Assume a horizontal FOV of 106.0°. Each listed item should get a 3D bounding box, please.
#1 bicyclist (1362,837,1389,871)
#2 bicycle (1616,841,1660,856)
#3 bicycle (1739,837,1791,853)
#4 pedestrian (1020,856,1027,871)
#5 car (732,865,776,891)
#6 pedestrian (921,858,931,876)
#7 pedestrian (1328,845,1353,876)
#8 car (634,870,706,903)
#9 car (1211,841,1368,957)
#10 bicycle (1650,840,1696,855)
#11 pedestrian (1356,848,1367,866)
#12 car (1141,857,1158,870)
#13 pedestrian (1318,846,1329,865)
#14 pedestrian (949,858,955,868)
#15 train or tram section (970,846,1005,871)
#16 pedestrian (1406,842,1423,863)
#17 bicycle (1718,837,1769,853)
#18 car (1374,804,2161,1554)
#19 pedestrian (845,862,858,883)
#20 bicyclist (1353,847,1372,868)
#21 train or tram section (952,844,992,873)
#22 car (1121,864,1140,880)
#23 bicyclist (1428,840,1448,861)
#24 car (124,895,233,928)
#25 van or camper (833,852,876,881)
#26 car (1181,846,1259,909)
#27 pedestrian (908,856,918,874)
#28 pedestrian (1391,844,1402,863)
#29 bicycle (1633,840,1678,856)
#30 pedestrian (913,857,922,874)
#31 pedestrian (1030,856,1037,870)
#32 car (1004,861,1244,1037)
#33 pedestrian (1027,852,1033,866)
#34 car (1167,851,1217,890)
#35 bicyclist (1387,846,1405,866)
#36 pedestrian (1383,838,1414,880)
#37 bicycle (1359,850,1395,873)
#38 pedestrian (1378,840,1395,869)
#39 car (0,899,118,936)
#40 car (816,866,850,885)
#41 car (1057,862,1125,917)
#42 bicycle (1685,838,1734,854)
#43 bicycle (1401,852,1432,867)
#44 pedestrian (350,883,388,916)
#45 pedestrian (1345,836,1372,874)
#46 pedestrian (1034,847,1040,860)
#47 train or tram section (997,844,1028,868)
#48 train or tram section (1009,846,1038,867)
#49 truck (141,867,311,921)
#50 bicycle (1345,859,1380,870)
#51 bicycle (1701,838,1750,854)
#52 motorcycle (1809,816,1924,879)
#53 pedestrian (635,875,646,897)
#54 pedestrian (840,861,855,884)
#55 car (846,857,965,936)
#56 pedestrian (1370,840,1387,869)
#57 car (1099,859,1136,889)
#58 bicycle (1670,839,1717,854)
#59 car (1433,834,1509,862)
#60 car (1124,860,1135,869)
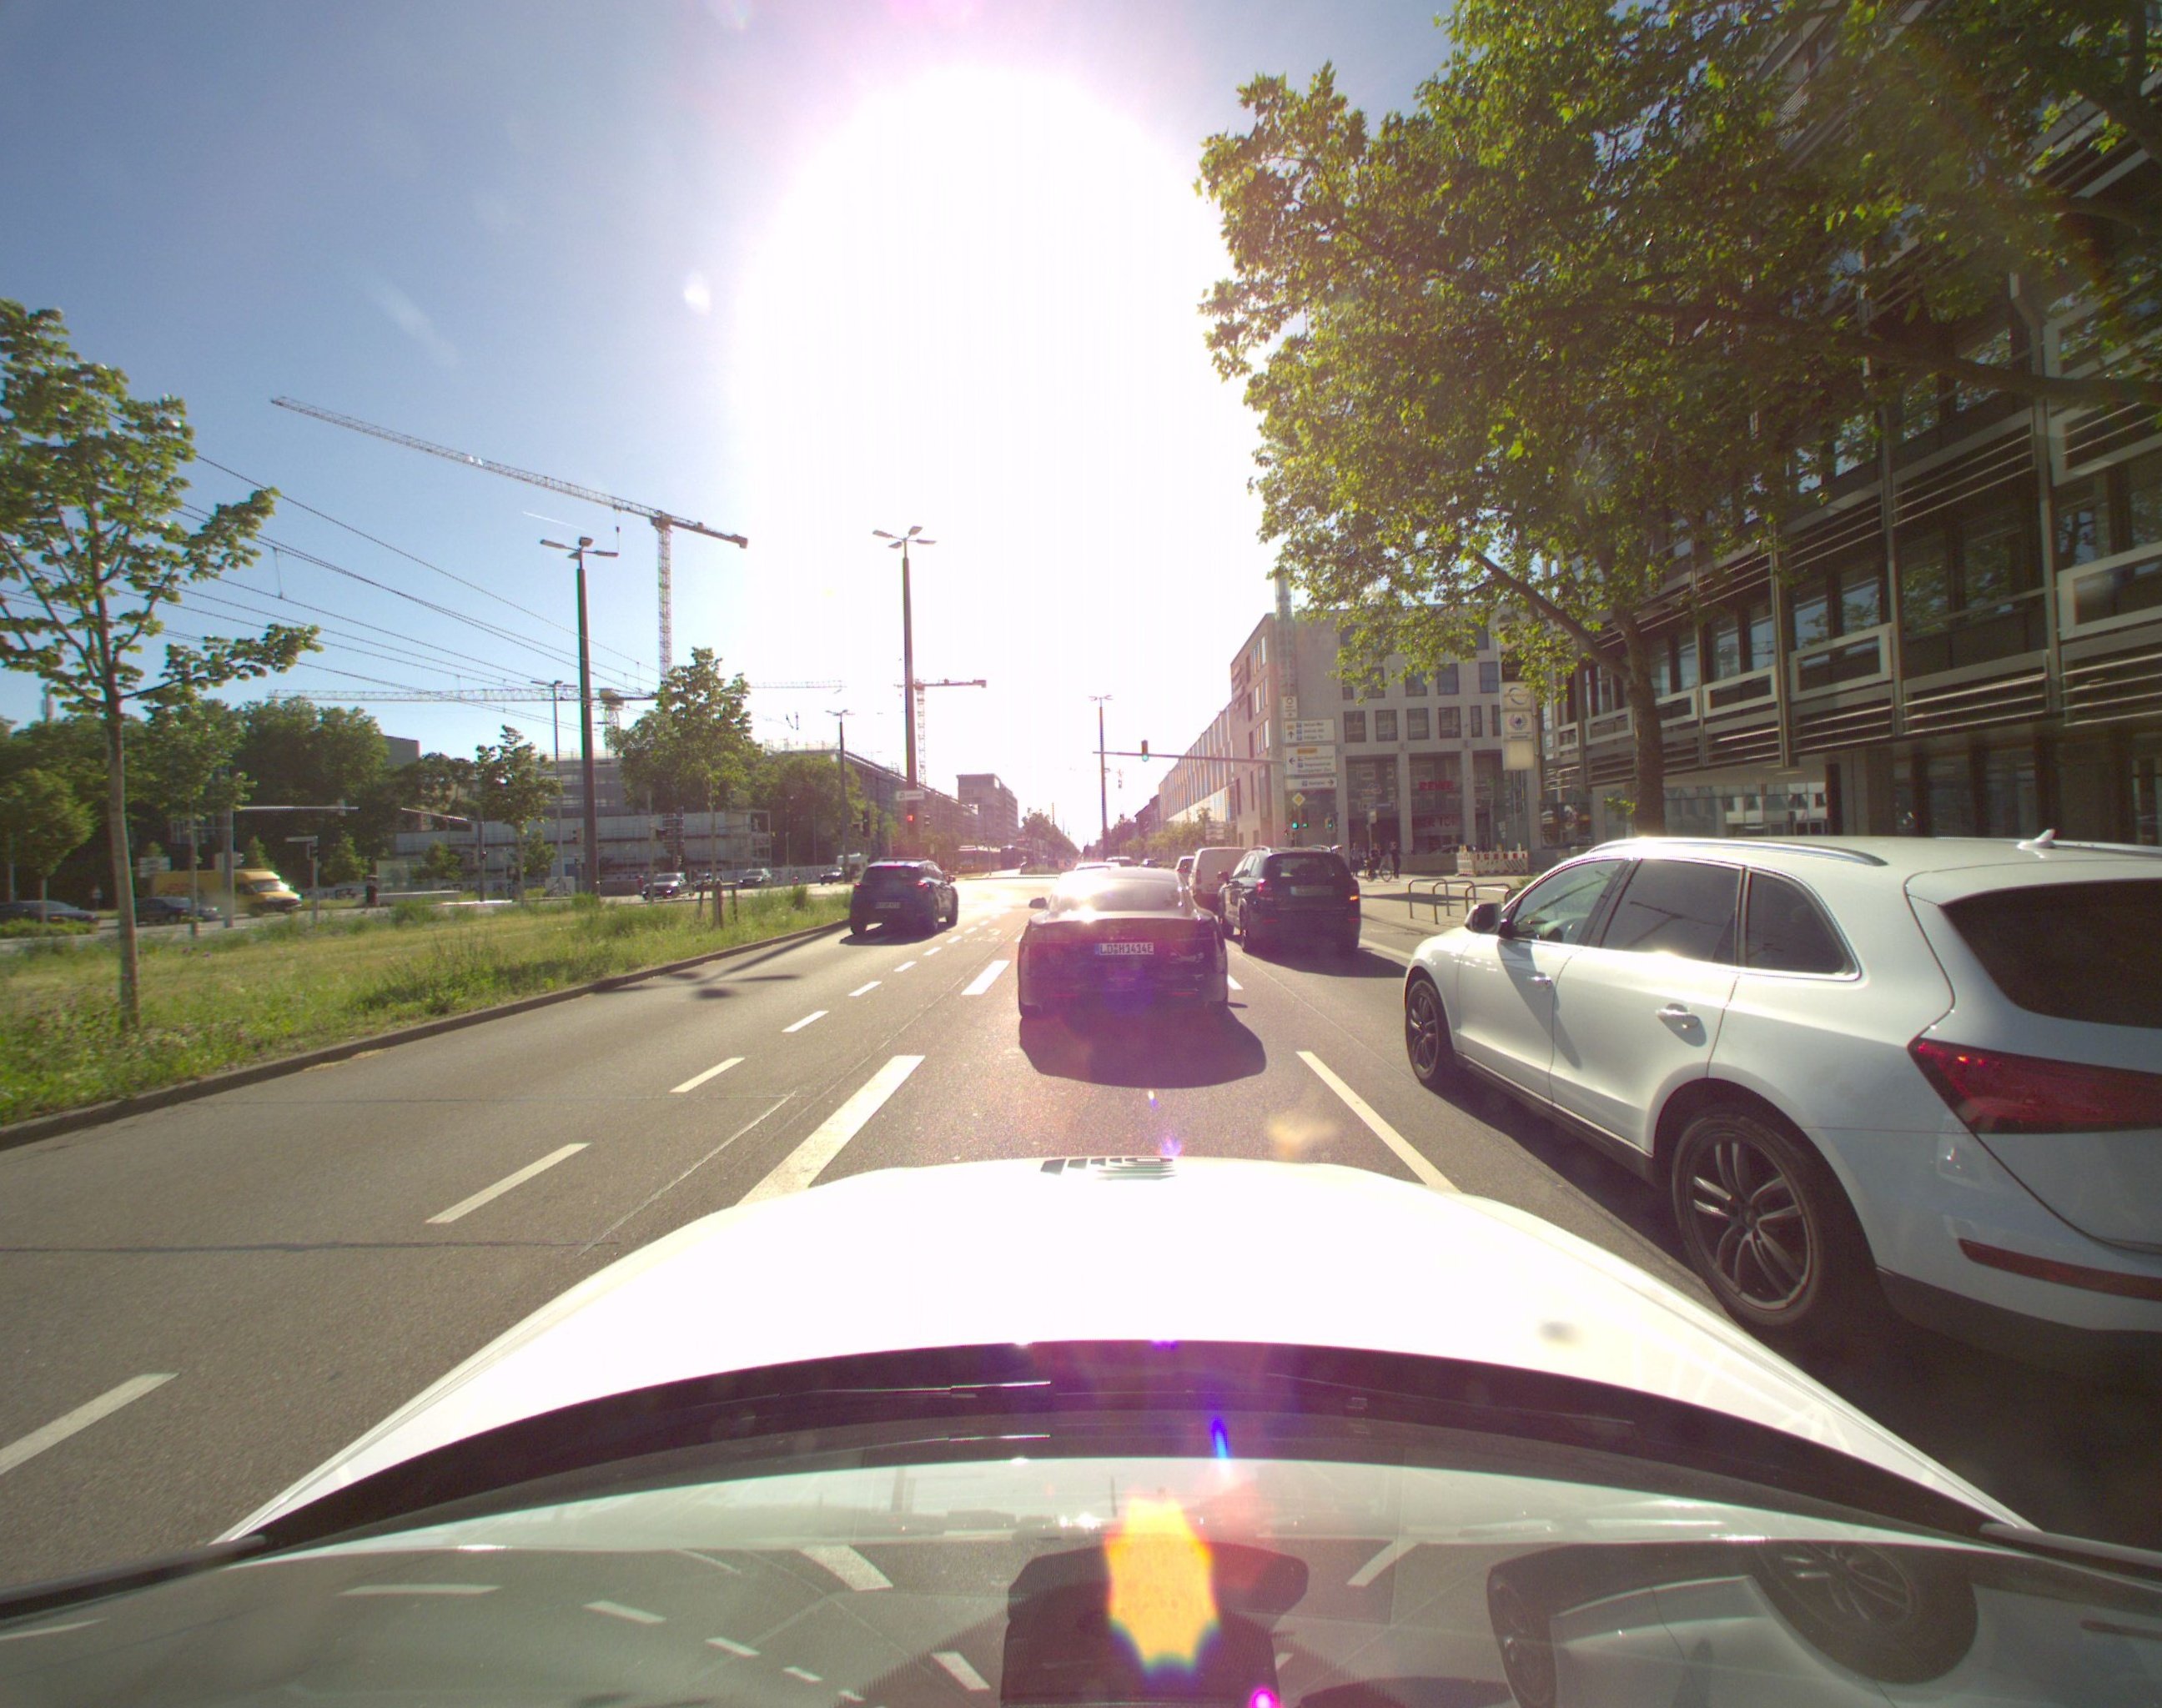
[{"bbox_3d":[13.175,0.011,36.468,0.878,1.477,0.884,-2,0,1],"label":"bicyclist"},{"bbox_3d":[41.674,-0.392,61.042,1.061,1.094,3.501,-2,0,4],"label":"bicycle"},{"bbox_3d":[50.760,-0.656,60.485,1.061,1.094,3.501,-2,0,4],"label":"bicycle"},{"bbox_3d":[-7.208,1.186,102.552,0.872,1.775,1.188,0,0,-2],"label":"pedestrian"},{"bbox_3d":[-26.775,1.963,66.866,1.863,1.955,4.001,-2,0,1],"label":"car"},{"bbox_3d":[-15.630,1.294,82.334,0.797,1.823,0.976,-2,0,-2],"label":"pedestrian"},{"bbox_3d":[16.066,0.409,50.502,0.963,1.801,1.523,-4,-1,1],"label":"pedestrian"},{"bbox_3d":[-23.878,1.873,47.494,1.818,1.689,4.096,-2,0,4],"label":"car"},{"bbox_3d":[3.491,0.672,14.463,1.777,1.699,4.415,-2,0,2],"label":"car"},{"bbox_3d":[44.259,-0.465,60.933,1.061,1.094,3.501,-2,0,4],"label":"bicycle"},{"bbox_3d":[25.606,0.264,74.315,0.559,1.608,0.742,-3,0,-35],"label":"pedestrian"},{"bbox_3d":[8.810,1.179,105.019,1.927,1.542,4.002,-2,0,2],"label":"car"},{"bbox_3d":[21.422,0.151,71.916,0.745,1.608,0.556,-2,0,0],"label":"pedestrian"},{"bbox_3d":[-16.166,1.082,101.792,0.669,1.226,0.506,0,-1,-2],"label":"pedestrian"},{"bbox_3d":[-12.931,0.711,114.067,2.838,3.321,15.967,0,-1,1],"label":"train or tram section"},{"bbox_3d":[27.313,-0.089,66.729,0.974,1.684,0.860,-2,0,-1],"label":"pedestrian"},{"bbox_3d":[49.148,-0.667,60.464,1.061,1.094,3.501,-2,0,4],"label":"bicycle"},{"bbox_3d":[3.066,0.679,3.951,1.812,1.613,4.415,-2,0,2],"label":"car"},{"bbox_3d":[-19.639,1.583,69.821,0.797,1.823,0.976,-2,0,-2],"label":"pedestrian"},{"bbox_3d":[20.414,0.273,58.982,1.017,1.476,1.073,-2,-1,5],"label":"bicyclist"},{"bbox_3d":[-13.161,0.538,99.552,2.860,3.310,13.074,0,0,1],"label":"train or tram section"},{"bbox_3d":[4.917,1.785,80.834,1.710,1.432,4.002,-2,0,2],"label":"car"},{"bbox_3d":[25.841,-0.243,58.956,0.928,1.433,1.042,-2,-1,4],"label":"bicyclist"},{"bbox_3d":[-48.463,3.094,43.779,3.966,1.539,1.907,-2,-1,6],"label":"car"},{"bbox_3d":[-24.451,1.307,88.277,2.597,2.937,7.340,-2,0,0],"label":"van or camper"},{"bbox_3d":[4.171,0.671,25.056,1.778,1.733,4.165,-2,0,2],"label":"car"},{"bbox_3d":[-17.195,1.086,83.203,0.797,1.823,0.976,-2,0,-2],"label":"pedestrian"},{"bbox_3d":[28.891,-0.063,74.572,0.559,1.762,0.643,-3,0,-35],"label":"pedestrian"},{"bbox_3d":[42.812,-0.425,60.738,1.061,1.094,3.501,-2,0,4],"label":"bicycle"},{"bbox_3d":[-17.095,1.205,85.163,0.797,1.823,0.976,-2,0,-2],"label":"pedestrian"},{"bbox_3d":[-5.501,1.074,94.100,0.739,1.628,0.862,-2,-1,2],"label":"pedestrian"},{"bbox_3d":[0.446,0.820,9.082,1.991,1.434,4.415,-1,0,2],"label":"car"},{"bbox_3d":[-6.209,0.621,99.652,0.701,1.775,0.959,0,0,-2],"label":"pedestrian"},{"bbox_3d":[4.846,0.689,36.021,1.777,1.546,4.041,-2,0,2],"label":"car"},{"bbox_3d":[22.852,0.165,59.101,0.928,1.396,1.078,-2,-1,5],"label":"bicyclist"},{"bbox_3d":[15.386,0.238,39.518,0.945,2.013,1.077,-2,0,-6],"label":"pedestrian"},{"bbox_3d":[13.176,0.325,36.279,0.878,0.984,2.051,-2,0,1],"label":"bicycle"},{"bbox_3d":[17.673,0.037,47.149,0.659,1.612,0.525,-4,-1,-8],"label":"pedestrian"},{"bbox_3d":[-49.165,3.028,39.038,3.966,1.539,1.907,-2,-1,6],"label":"car"},{"bbox_3d":[-24.235,2.084,79.858,1.939,1.707,4.366,-2,0,0],"label":"car"},{"bbox_3d":[0.332,0.928,22.911,1.710,1.320,4.002,-2,0,2],"label":"car"},{"bbox_3d":[46.833,-0.560,60.759,1.061,1.094,3.501,-2,0,4],"label":"bicycle"},{"bbox_3d":[25.505,0.434,61.989,1.061,1.094,3.500,-2,0,3],"label":"bicycle"},{"bbox_3d":[-39.029,2.476,44.642,1.187,1.685,0.948,-1,1,3],"label":"pedestrian"},{"bbox_3d":[14.983,0.069,44.036,0.946,2.013,1.076,-2,0,-10],"label":"pedestrian"},{"bbox_3d":[-6.509,-0.067,120.965,0.669,1.811,1.074,-2,-1,0],"label":"pedestrian"},{"bbox_3d":[-9.651,0.324,116.732,2.860,3.279,15.186,0,0,1],"label":"train or tram section"},{"bbox_3d":[-9.336,0.451,135.391,2.860,3.279,22.145,0,0,1],"label":"train or tram section"},{"bbox_3d":[-50.042,2.334,47.744,7.967,2.793,2.467,-2,-1,6],"label":"truck"},{"bbox_3d":[20.392,0.756,58.968,2.183,0.671,1.073,-2,0,4],"label":"bicycle"},{"bbox_3d":[48.003,-0.568,60.731,1.061,1.094,3.501,-2,0,4],"label":"bicycle"},{"bbox_3d":[19.512,-0.150,20.312,0.820,1.441,2.123,-2,0,2],"label":"motorcycle"},{"bbox_3d":[-37.826,2.754,69.990,0.704,1.823,0.589,-2,0,-36],"label":"pedestrian"},{"bbox_3d":[-19.441,1.542,67.835,0.792,1.823,0.887,-2,0,33],"label":"pedestrian"},{"bbox_3d":[-3.872,0.875,18.641,1.764,1.588,4.089,0,0,1],"label":"car"},{"bbox_3d":[17.468,0.039,47.770,0.659,1.612,0.525,-4,-1,-8],"label":"pedestrian"},{"bbox_3d":[1.767,0.953,40.357,1.710,1.320,4.002,-2,0,2],"label":"car"},{"bbox_3d":[45.604,-0.547,60.719,1.061,1.094,3.501,-2,0,4],"label":"bicycle"},{"bbox_3d":[26.237,-0.389,54.828,4.167,1.613,1.862,-2,-2,3],"label":"car"},{"bbox_3d":[9.103,1.984,154.005,1.927,1.542,4.002,-2,0,2],"label":"car"}]
